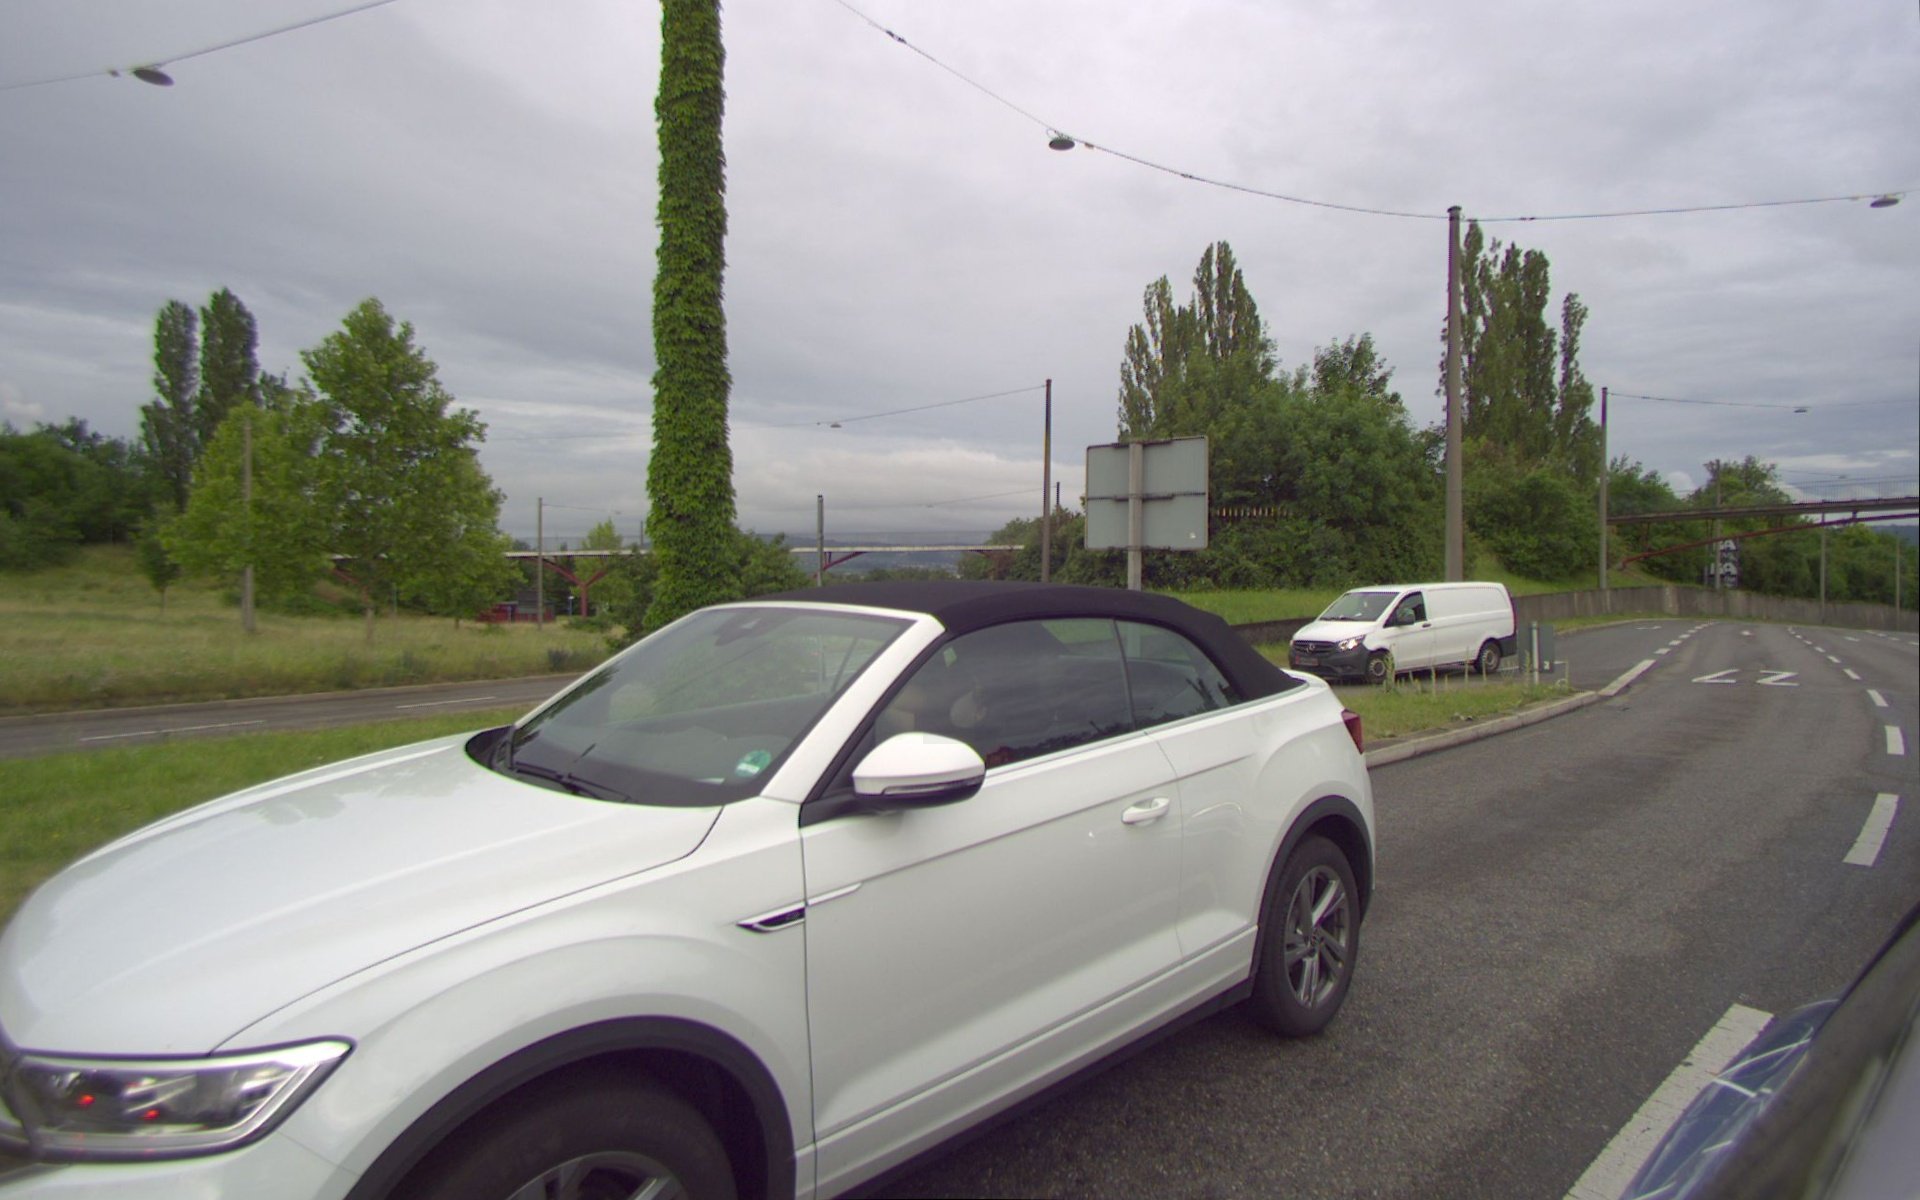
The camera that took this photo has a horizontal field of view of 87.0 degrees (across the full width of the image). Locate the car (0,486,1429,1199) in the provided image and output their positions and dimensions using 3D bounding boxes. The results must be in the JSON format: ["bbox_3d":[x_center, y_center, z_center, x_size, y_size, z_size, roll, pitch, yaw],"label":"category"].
[{"bbox_3d":[-0.262,0.625,3.075,4.160,1.572,1.714,-1,1,-44],"label":"car"}]

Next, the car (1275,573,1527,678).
[{"bbox_3d":[8.935,0.492,20.487,4.725,1.872,2.002,-1,-3,-26],"label":"car"}]

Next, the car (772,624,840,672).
[{"bbox_3d":[-5.052,1.568,33.675,1.653,1.438,4.080,-1,-2,-1],"label":"car"}]

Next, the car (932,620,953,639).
[{"bbox_3d":[-1.563,2.638,91.839,1.669,1.494,4.291,0,1,2],"label":"car"}]
